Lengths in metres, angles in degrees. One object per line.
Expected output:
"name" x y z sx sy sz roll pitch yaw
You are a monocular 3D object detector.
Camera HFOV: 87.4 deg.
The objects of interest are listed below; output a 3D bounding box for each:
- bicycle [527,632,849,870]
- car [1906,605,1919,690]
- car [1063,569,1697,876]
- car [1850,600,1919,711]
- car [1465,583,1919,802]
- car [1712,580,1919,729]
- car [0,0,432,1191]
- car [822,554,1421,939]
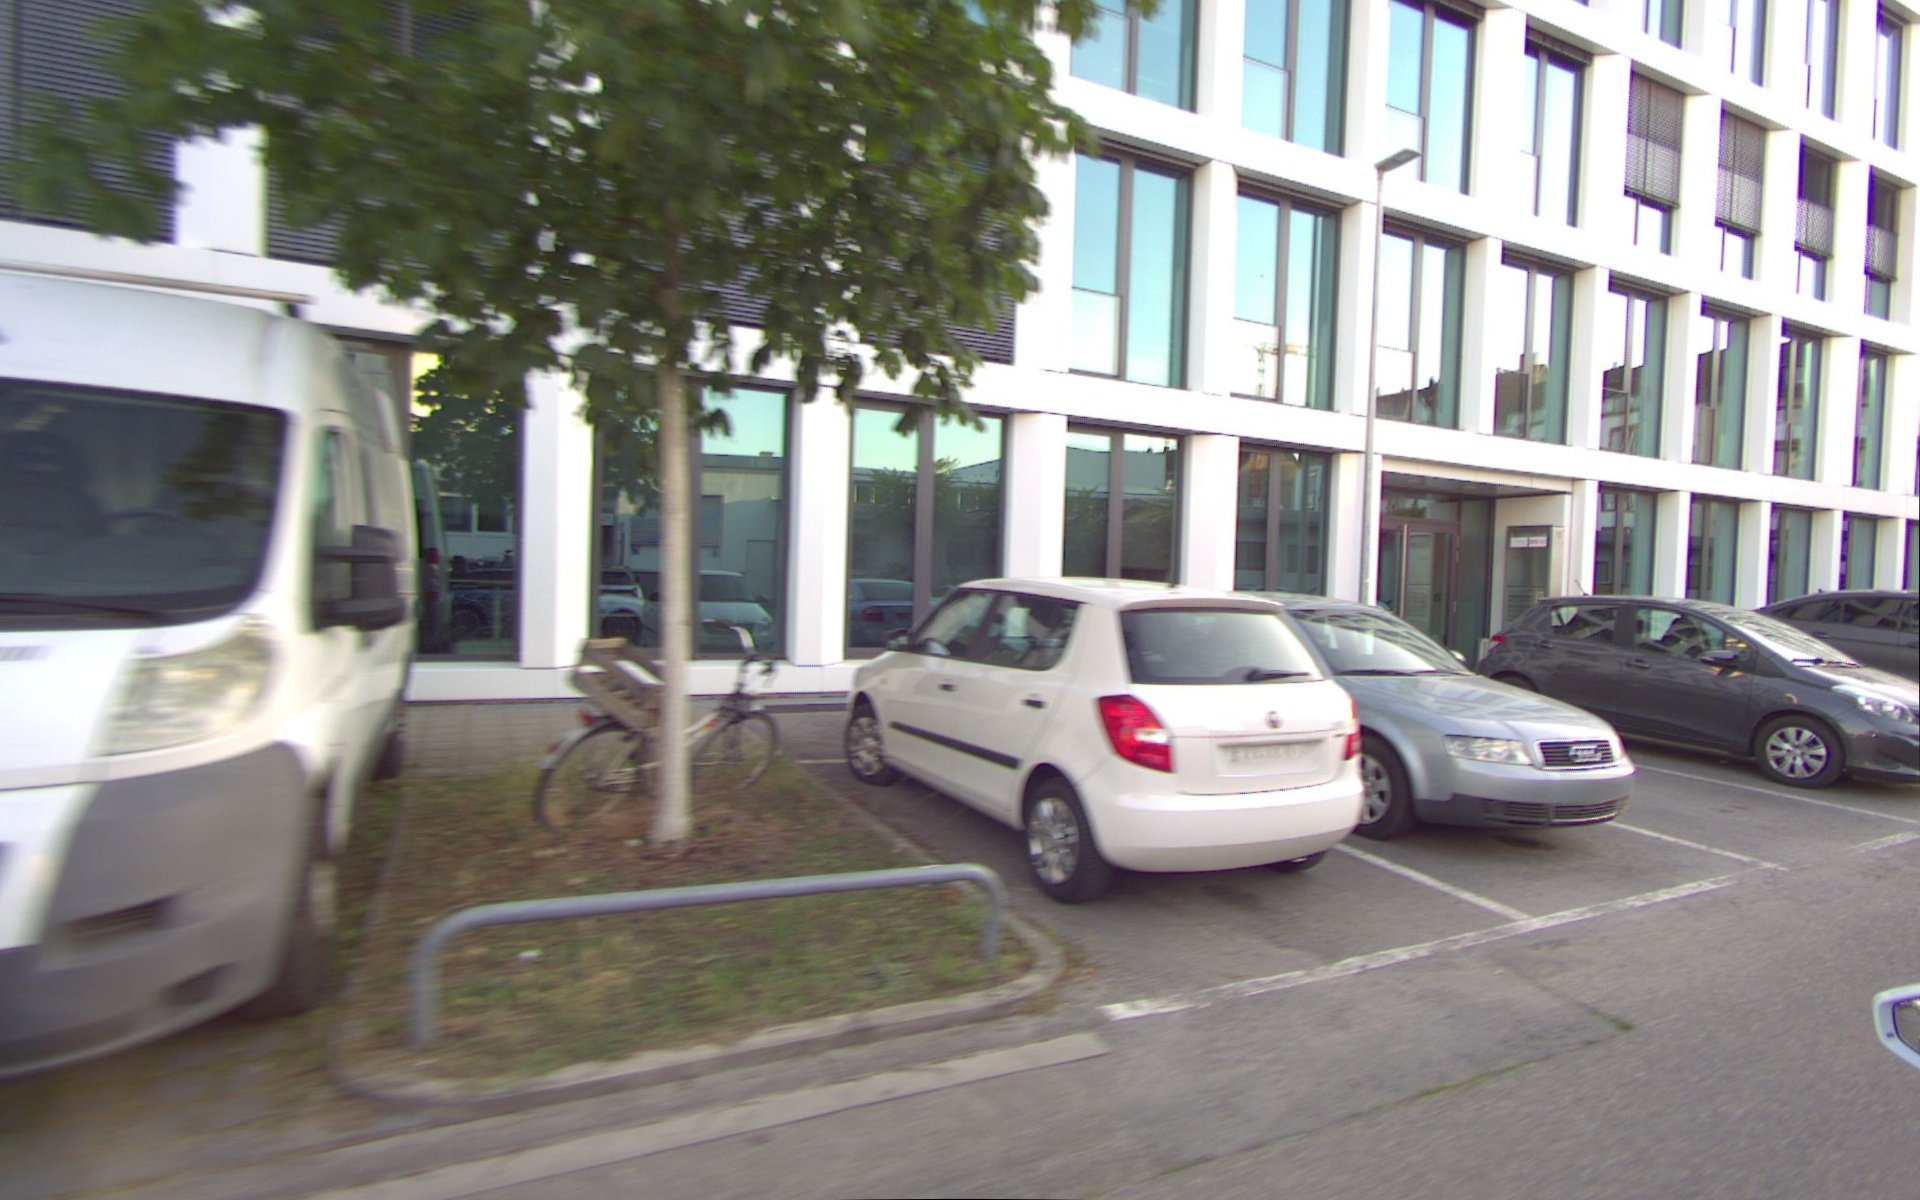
"bicycle" -1.385 0.719 5.542 0.661 0.928 1.911 2 3 24
"car" 18.903 0.959 16.890 1.772 1.532 3.951 1 3 -26
"car" 2.666 0.597 7.570 1.771 1.516 4.293 1 3 -25
"car" 14.821 0.866 13.663 1.672 1.532 3.657 1 2 -23
"car" 7.174 0.690 9.715 1.673 1.543 3.764 1 3 -29
"car" 12.498 0.707 12.496 1.976 1.729 4.606 1 2 -23
"car" -3.584 -0.176 4.369 2.050 2.668 5.362 1 3 -26
"car" 0.590 0.526 6.051 1.686 1.516 3.693 1 3 -27
